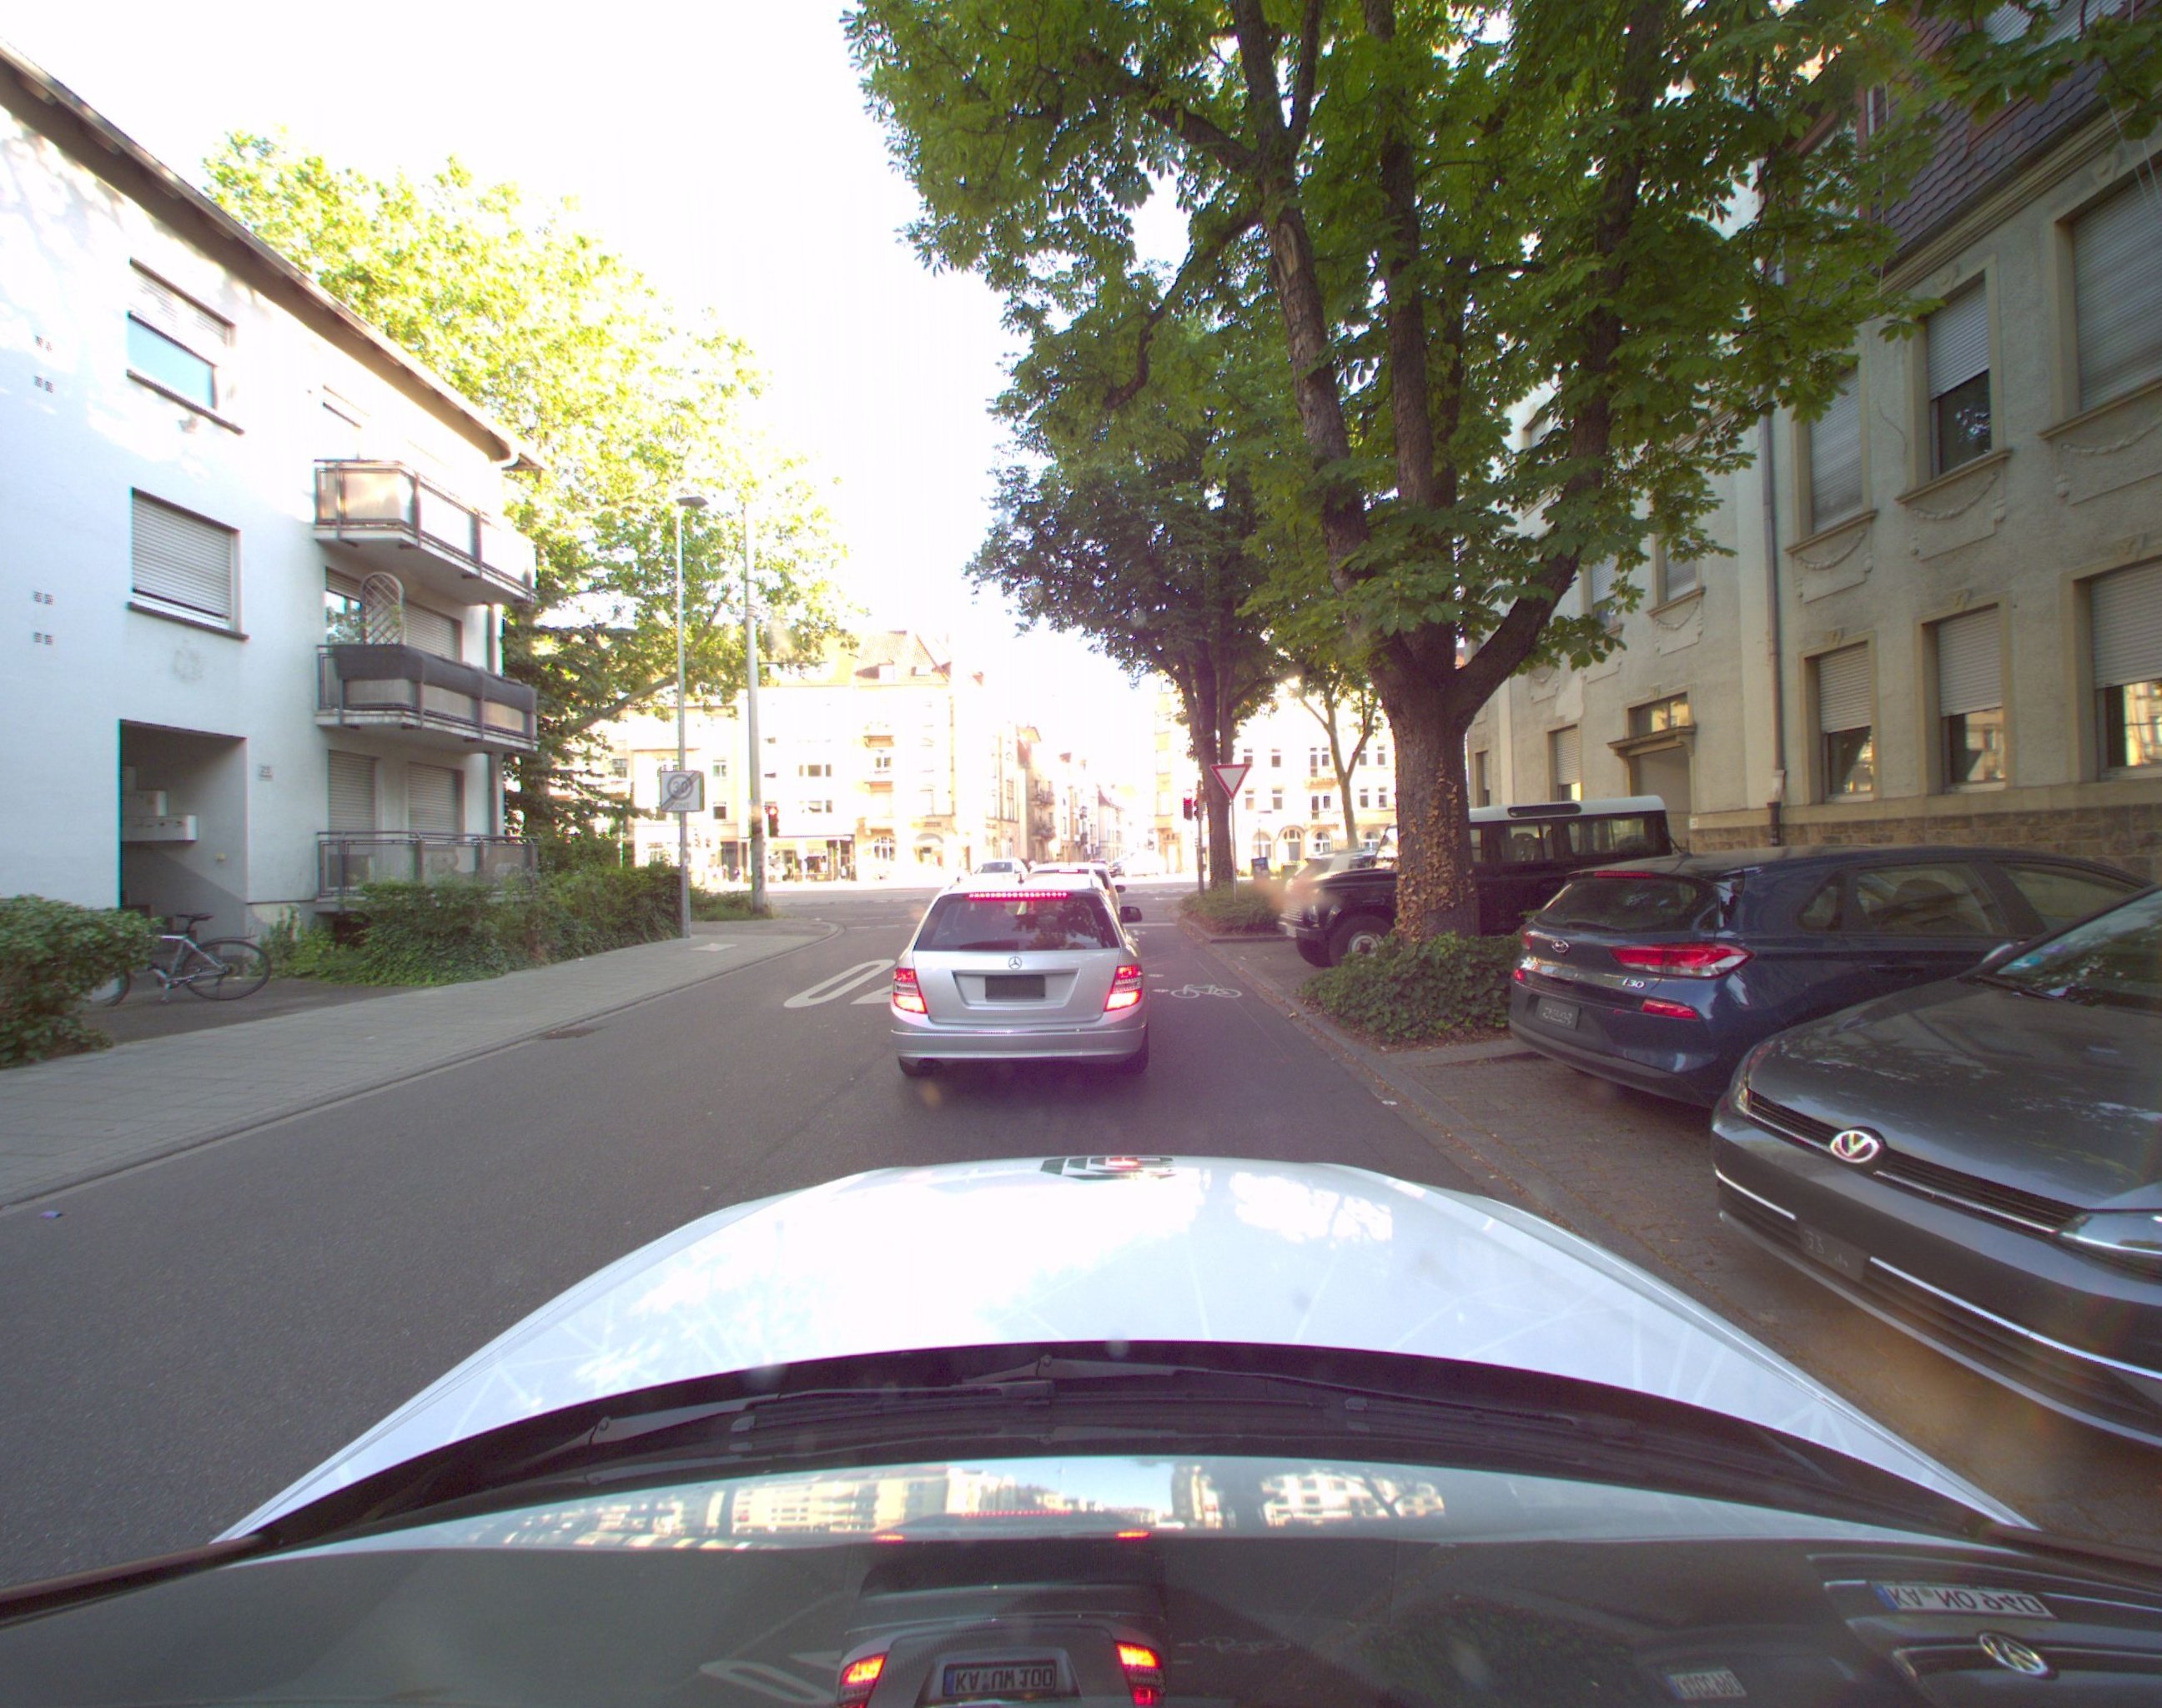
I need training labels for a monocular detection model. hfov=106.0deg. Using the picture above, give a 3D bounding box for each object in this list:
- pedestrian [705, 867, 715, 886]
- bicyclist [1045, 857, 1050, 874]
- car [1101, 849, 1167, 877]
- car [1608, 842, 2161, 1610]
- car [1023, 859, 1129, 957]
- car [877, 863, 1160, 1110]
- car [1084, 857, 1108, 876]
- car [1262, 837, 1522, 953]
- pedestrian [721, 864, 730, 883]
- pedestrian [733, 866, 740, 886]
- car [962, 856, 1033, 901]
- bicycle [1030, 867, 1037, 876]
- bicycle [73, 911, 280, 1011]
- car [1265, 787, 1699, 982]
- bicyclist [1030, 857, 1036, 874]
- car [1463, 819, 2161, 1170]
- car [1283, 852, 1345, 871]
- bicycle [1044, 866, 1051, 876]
[{"bbox_3d":[-29.739,1.792,65.259,0.539,1.511,0.504,-1,-1,-40],"label":"pedestrian"},{"bbox_3d":[-3.038,1.014,73.714,0.465,1.521,0.693,-1,0,-2],"label":"bicyclist"},{"bbox_3d":[3.174,0.509,48.475,3.602,1.501,1.605,-2,1,-29],"label":"car"},{"bbox_3d":[4.071,0.660,2.337,4.037,1.422,1.627,-3,-1,-2],"label":"car"},{"bbox_3d":[-0.060,0.803,13.719,1.528,1.391,3.599,-1,0,0],"label":"car"},{"bbox_3d":[-0.389,0.806,6.620,1.685,1.429,3.491,0,0,-1],"label":"car"},{"bbox_3d":[1.687,1.330,88.878,1.926,1.958,4.161,-2,0,10],"label":"car"},{"bbox_3d":[4.904,0.612,13.140,3.475,1.586,1.708,-3,0,-5],"label":"car"},{"bbox_3d":[-27.799,1.512,63.668,0.566,1.511,0.499,-1,0,-17],"label":"pedestrian"},{"bbox_3d":[-27.468,1.742,64.918,0.474,1.511,0.428,-1,0,-18],"label":"pedestrian"},{"bbox_3d":[-3.033,0.848,30.622,1.772,1.461,4.307,-1,1,6],"label":"car"},{"bbox_3d":[-4.305,1.579,73.695,0.567,0.834,1.564,-1,0,-1],"label":"bicycle"},{"bbox_3d":[-10.002,1.155,9.077,1.469,0.975,0.402,2,-2,-38],"label":"bicycle"},{"bbox_3d":[4.795,0.347,10.192,4.478,1.956,1.792,-3,0,-1],"label":"car"},{"bbox_3d":[-4.307,1.049,73.669,0.465,1.514,0.655,-1,0,-2],"label":"bicyclist"},{"bbox_3d":[4.402,0.613,4.534,3.739,1.422,1.627,-3,-1,-2],"label":"car"},{"bbox_3d":[14.172,0.471,49.580,3.352,1.069,1.380,-2,0,0],"label":"car"},{"bbox_3d":[-3.025,1.537,73.581,0.567,0.834,1.564,-1,0,-1],"label":"bicycle"}]
